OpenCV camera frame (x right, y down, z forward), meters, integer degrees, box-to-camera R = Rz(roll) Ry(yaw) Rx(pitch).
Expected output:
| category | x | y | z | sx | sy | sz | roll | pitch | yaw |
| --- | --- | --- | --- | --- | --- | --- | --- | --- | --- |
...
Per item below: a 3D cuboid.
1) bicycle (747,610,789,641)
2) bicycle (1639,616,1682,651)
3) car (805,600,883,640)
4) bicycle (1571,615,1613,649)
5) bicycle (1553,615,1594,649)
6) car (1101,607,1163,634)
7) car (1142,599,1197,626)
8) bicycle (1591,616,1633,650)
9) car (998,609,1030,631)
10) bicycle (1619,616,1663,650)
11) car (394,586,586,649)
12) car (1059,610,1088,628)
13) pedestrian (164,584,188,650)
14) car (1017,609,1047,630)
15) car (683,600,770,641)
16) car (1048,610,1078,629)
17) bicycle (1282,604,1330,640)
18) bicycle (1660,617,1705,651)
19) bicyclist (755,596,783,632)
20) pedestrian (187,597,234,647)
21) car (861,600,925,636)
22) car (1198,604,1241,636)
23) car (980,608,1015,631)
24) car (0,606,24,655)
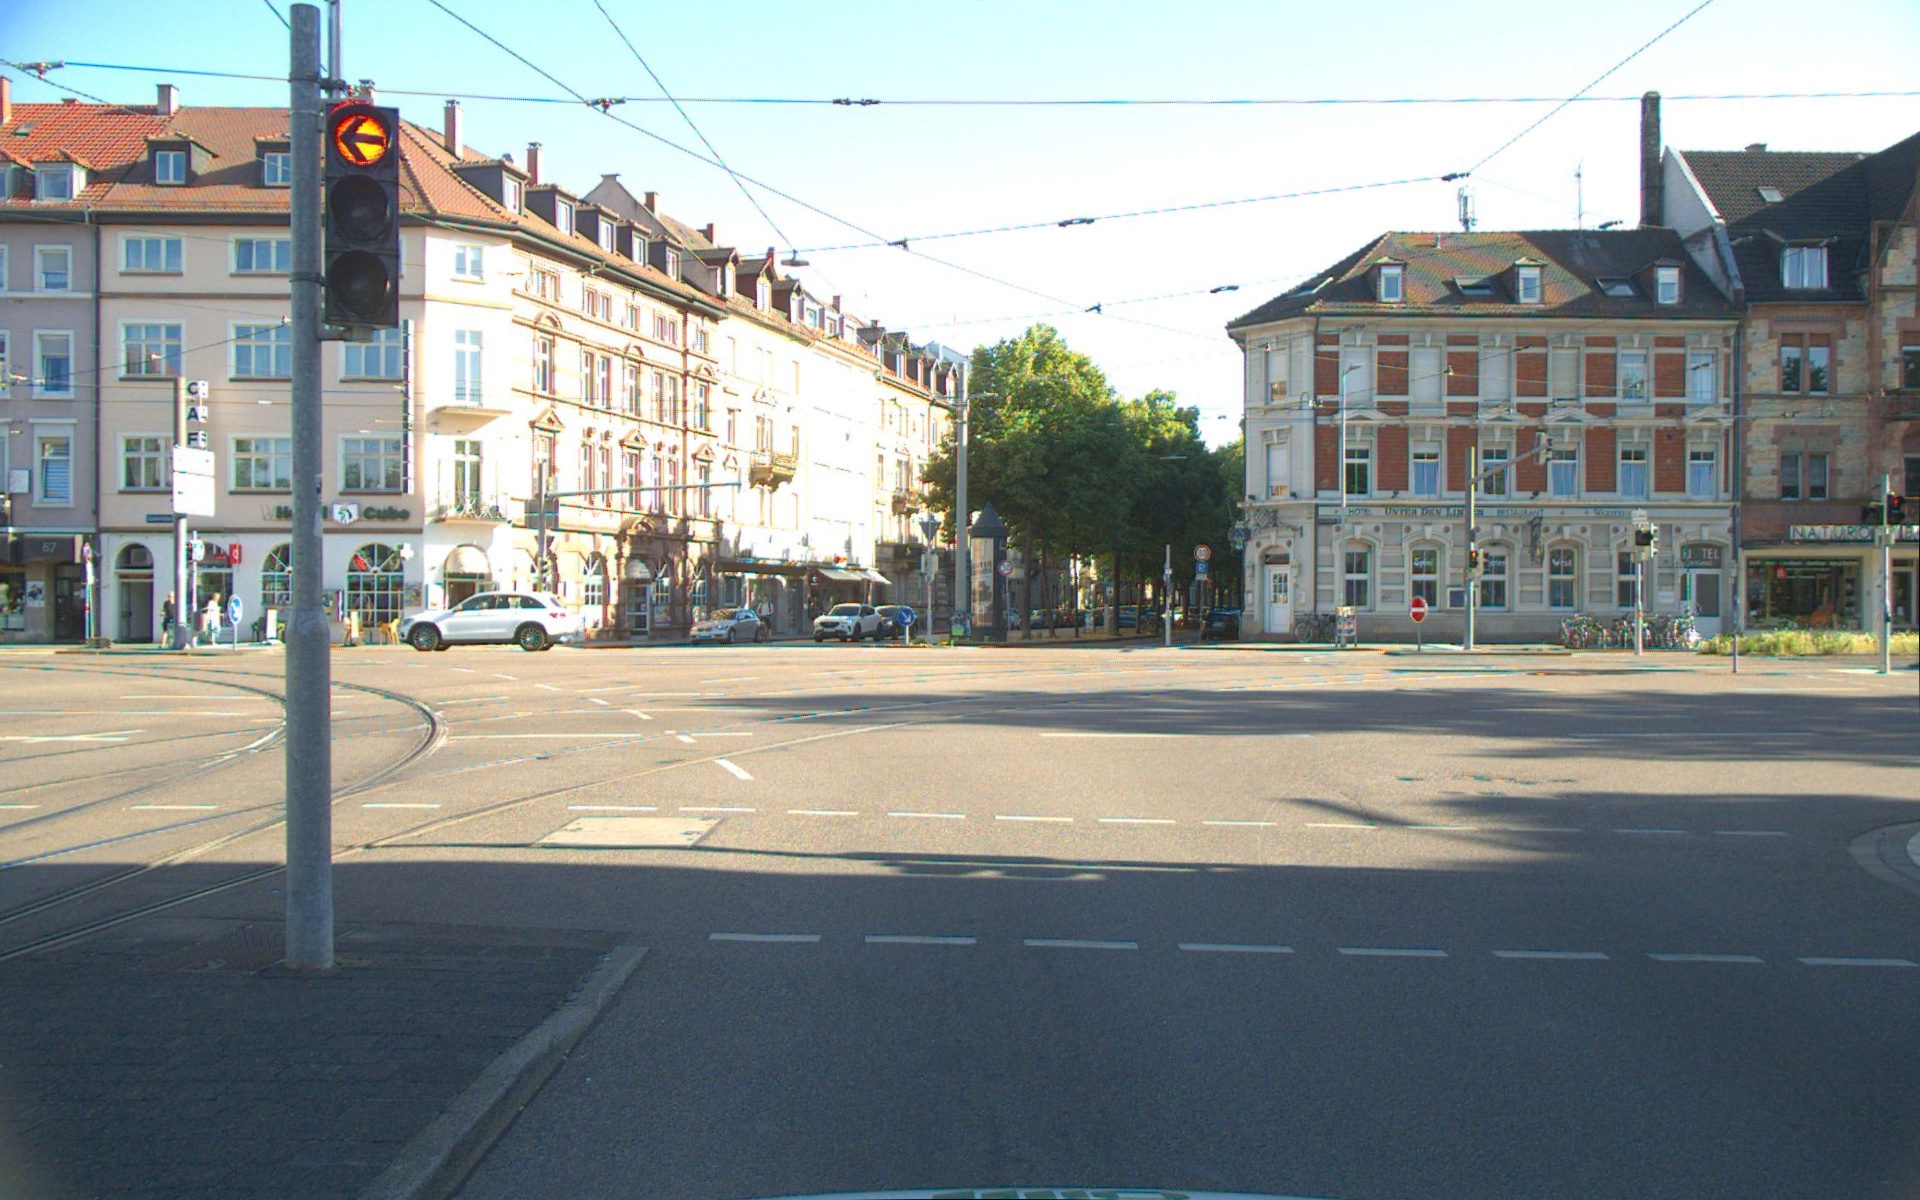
| category | x | y | z | sx | sy | sz | roll | pitch | yaw |
| --- | --- | --- | --- | --- | --- | --- | --- | --- | --- |
| bicycle | -7.572 | 0.992 | 65.496 | 0.734 | 1.155 | 2.812 | 0 | 0 | 14 |
| bicycle | 22.606 | 1.073 | 53.403 | 0.593 | 1.069 | 1.641 | 0 | 0 | -6 |
| car | -4.650 | 0.788 | 67.081 | 2.052 | 1.525 | 4.003 | 0 | 0 | 13 |
| bicycle | 20.468 | 1.037 | 53.569 | 0.593 | 1.069 | 1.641 | 0 | 0 | -6 |
| bicycle | 19.827 | 1.026 | 53.514 | 0.593 | 1.069 | 1.641 | 0 | 0 | -6 |
| car | 12.005 | 1.402 | 115.386 | 4.024 | 1.675 | 1.748 | 3 | 0 | 15 |
| car | 16.957 | 1.013 | 133.666 | 4.026 | 1.952 | 1.746 | 3 | 0 | 21 |
| bicycle | 21.119 | 1.049 | 53.595 | 0.593 | 1.069 | 1.641 | 0 | 0 | -6 |
| car | 3.804 | 1.356 | 115.841 | 1.704 | 1.422 | 4.127 | 3 | 0 | 9 |
| bicycle | 21.945 | 1.062 | 53.328 | 0.593 | 1.069 | 1.641 | 0 | 0 | -6 |
| car | -12.839 | 0.464 | 45.416 | 4.753 | 1.689 | 1.998 | 0 | 0 | -5 |
| car | 9.421 | 1.573 | 136.504 | 1.704 | 1.422 | 4.127 | 3 | 0 | 13 |
| pedestrian | -24.664 | 0.535 | 52.035 | 0.498 | 2.049 | 0.505 | 0 | 0 | 2 |
| car | 5.334 | 1.412 | 122.841 | 1.704 | 1.422 | 4.127 | 3 | 0 | 9 |
| car | -9.449 | 0.810 | 67.221 | 2.052 | 1.572 | 4.367 | 0 | 0 | 13 |
| car | 8.244 | 1.537 | 131.708 | 1.704 | 1.422 | 4.127 | 3 | 0 | 13 |
| bicycle | 11.977 | 0.764 | 57.304 | 1.603 | 1.243 | 0.607 | 0 | 0 | 16 |
| bicycle | 23.332 | 1.086 | 53.425 | 0.593 | 1.069 | 1.641 | 0 | 0 | -6 |
| bicyclist | -7.558 | 0.541 | 65.465 | 0.776 | 1.399 | 1.109 | 0 | 0 | 14 |
| pedestrian | -24.430 | 0.700 | 53.918 | 1.043 | 1.618 | 1.042 | 0 | 0 | 1 |
| car | -2.958 | 0.796 | 73.474 | 1.951 | 1.540 | 4.004 | 0 | 0 | 11 |
| car | 12.975 | 1.003 | 82.467 | 1.616 | 1.551 | 3.755 | 0 | -1 | 17 |
| car | 2.527 | 1.309 | 110.018 | 1.704 | 1.422 | 4.127 | 3 | 0 | 9 |
| car | -32.061 | 0.994 | 52.155 | 3.910 | 1.489 | 1.998 | -1 | 1 | -6 |
